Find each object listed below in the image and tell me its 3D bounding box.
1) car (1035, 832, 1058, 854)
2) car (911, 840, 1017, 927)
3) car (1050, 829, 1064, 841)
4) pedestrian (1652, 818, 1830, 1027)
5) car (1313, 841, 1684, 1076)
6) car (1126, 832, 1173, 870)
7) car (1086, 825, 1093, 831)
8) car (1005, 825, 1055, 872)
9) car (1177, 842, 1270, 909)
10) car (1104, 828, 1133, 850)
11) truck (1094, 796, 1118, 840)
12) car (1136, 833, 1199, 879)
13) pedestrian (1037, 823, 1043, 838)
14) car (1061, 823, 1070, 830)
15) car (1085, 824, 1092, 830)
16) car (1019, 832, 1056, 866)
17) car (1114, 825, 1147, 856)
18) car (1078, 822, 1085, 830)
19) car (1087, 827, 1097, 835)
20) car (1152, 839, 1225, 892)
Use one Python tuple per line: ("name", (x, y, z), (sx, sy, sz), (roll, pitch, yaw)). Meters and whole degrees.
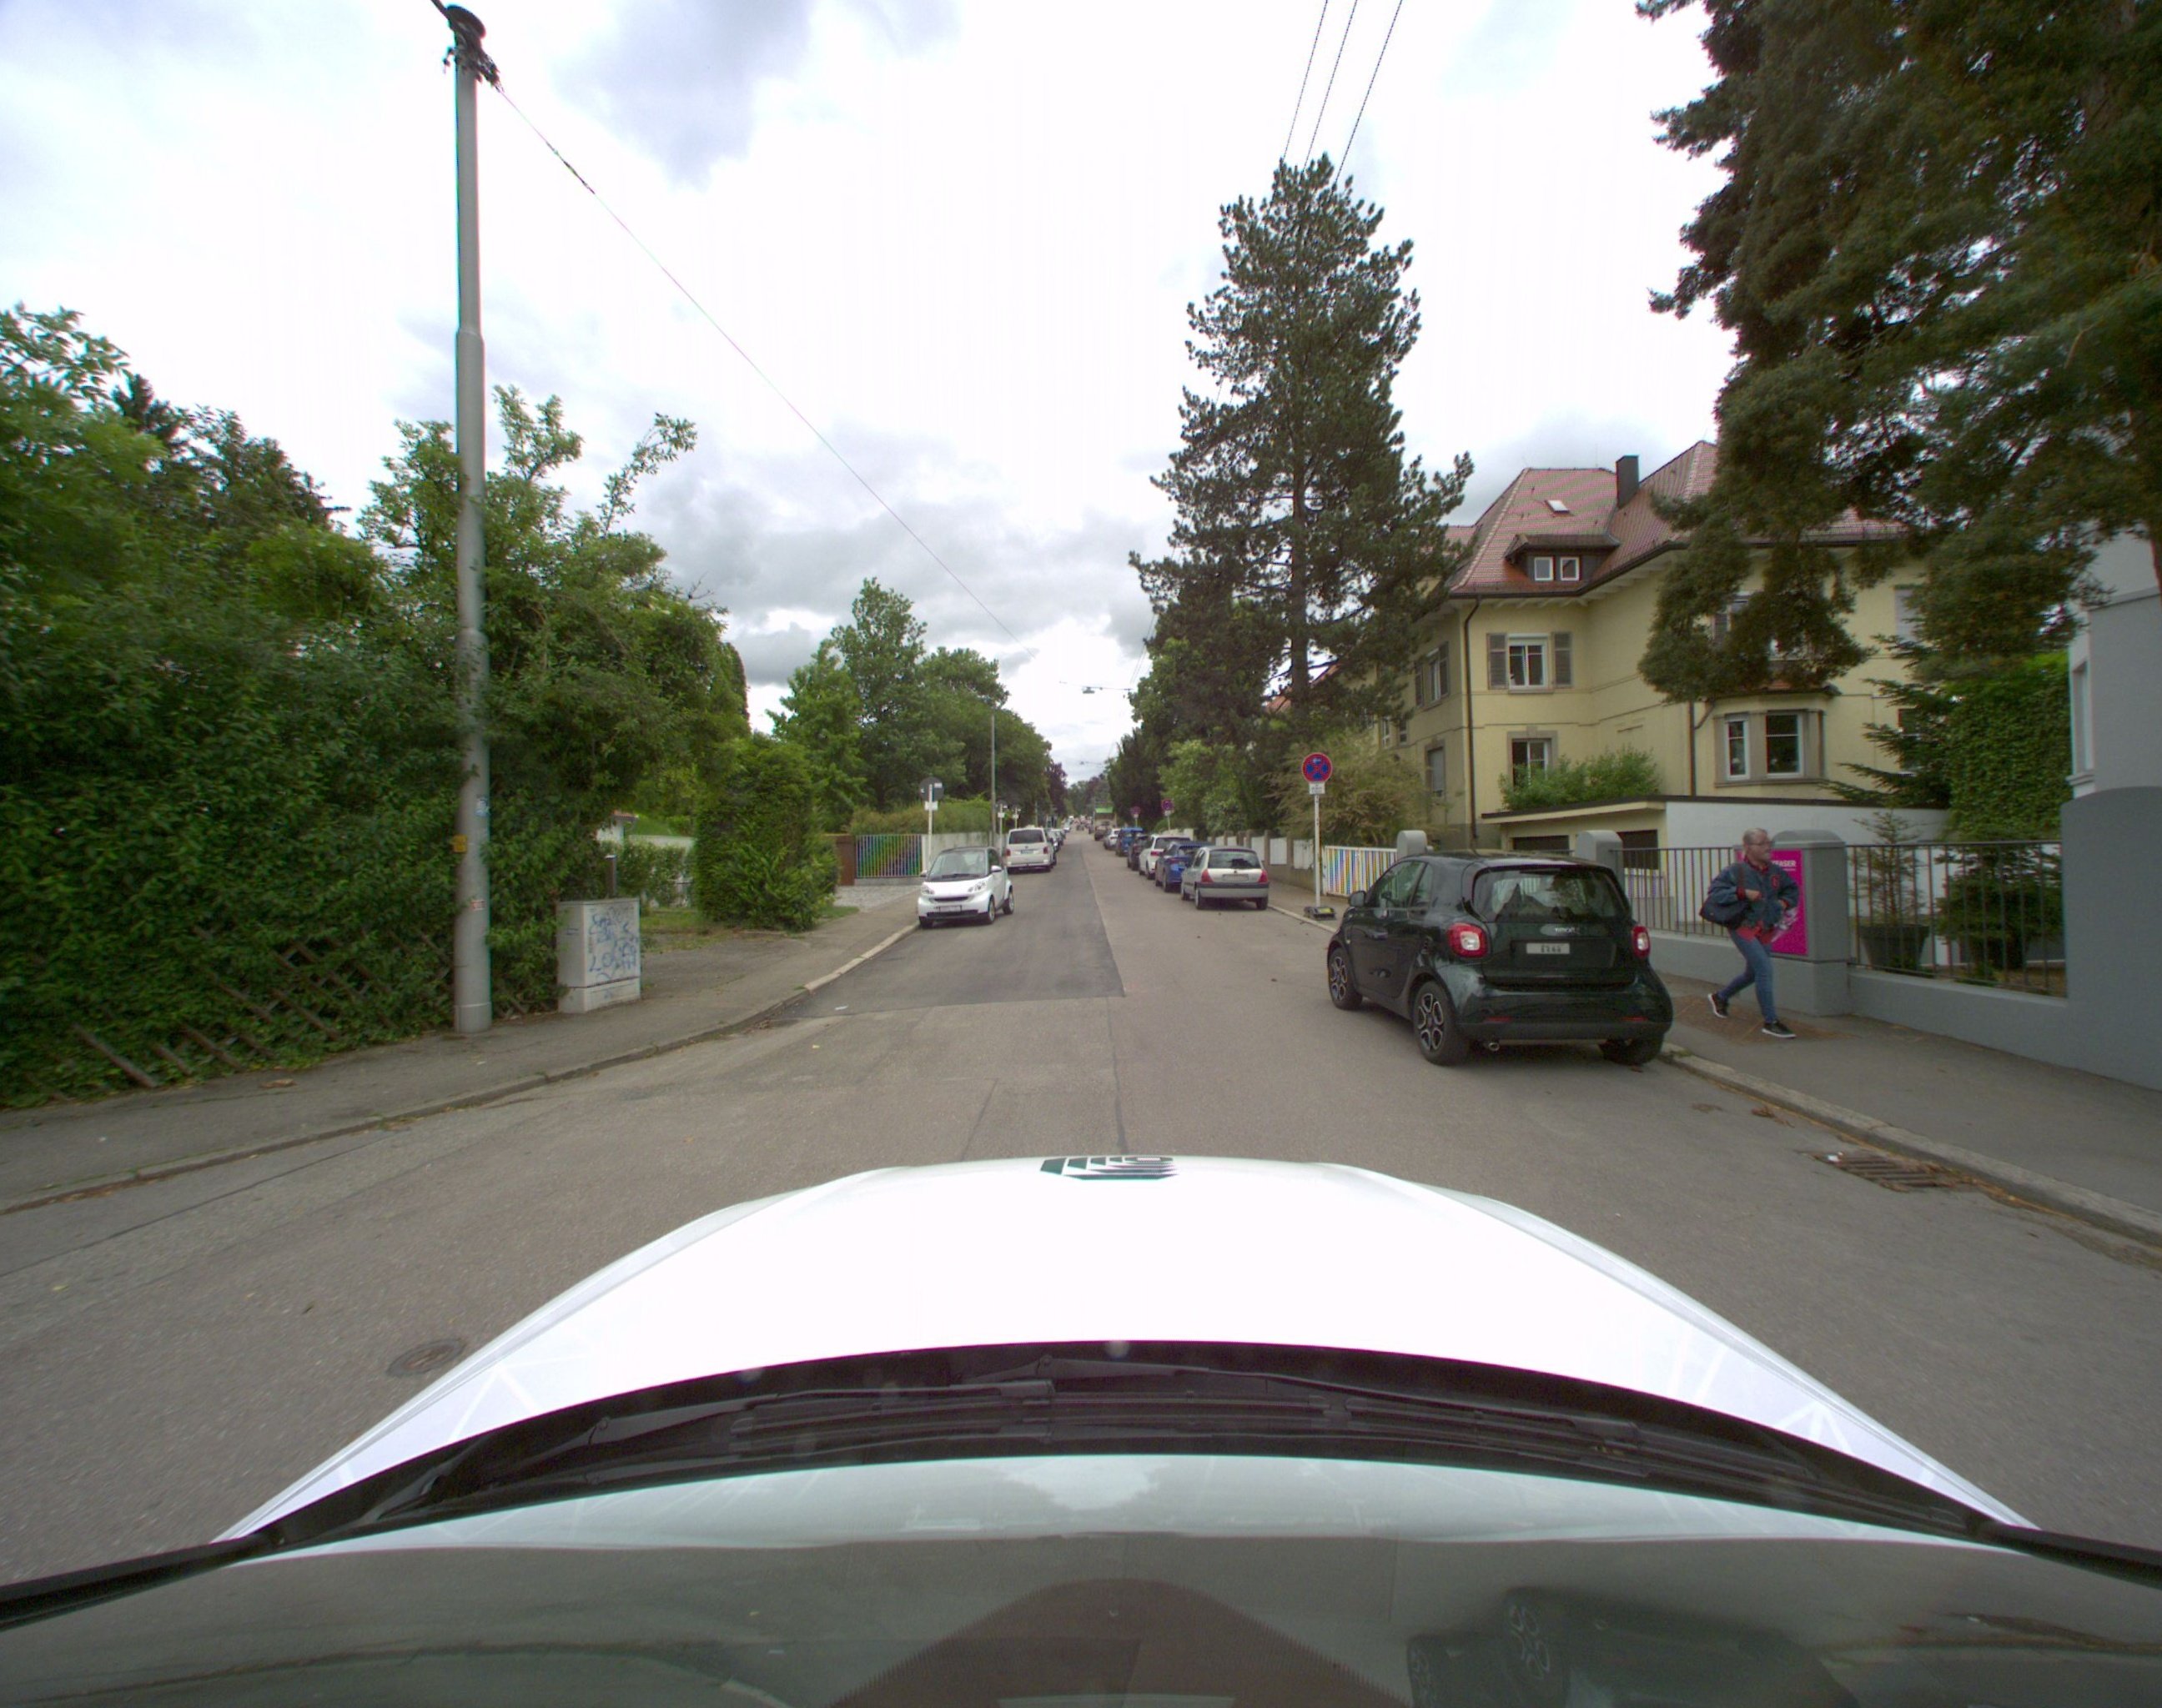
("car", (-2.607, -0.860, 61.191), (1.618, 1.533, 2.959), (-3, 2, -4))
("car", (-2.394, 0.563, 17.214), (1.435, 1.552, 2.775), (-4, 2, 6))
("car", (-3.117, -2.467, 105.845), (1.632, 1.395, 3.987), (-3, 2, -2))
("pedestrian", (5.399, 0.533, 6.725), (0.677, 1.577, 0.908), (-3, -1, 5))
("car", (3.242, 0.693, 6.940), (1.568, 1.531, 2.865), (1, 1, -3))
("car", (3.033, -0.175, 36.831), (1.745, 1.607, 4.075), (1, 1, -1))
("car", (2.143, -6.610, 205.837), (1.805, 1.335, 3.631), (1, 3, -1))
("car", (-2.213, -0.290, 36.723), (1.849, 1.913, 4.619), (-3, 1, 0))
("car", (3.287, 0.440, 19.428), (1.569, 1.400, 3.655), (1, 2, 0))
("car", (2.823, -1.163, 62.020), (1.754, 1.605, 4.569), (0, 2, -4))
("truck", (2.821, -4.042, 92.642), (2.516, 4.747, 7.188), (0, 2, 0))
("car", (3.197, 0.009, 30.827), (1.780, 1.603, 4.302), (1, 2, -2))
("pedestrian", (-5.603, -3.239, 111.415), (0.851, 2.013, 0.699), (1, 1, -6))
("car", (-3.403, -6.196, 182.052), (1.704, 1.585, 4.003), (0, 2, 2))
("car", (2.011, -7.126, 214.716), (1.783, 1.529, 3.736), (-1, 2, 1))
("car", (-2.255, -0.308, 42.906), (1.786, 1.623, 4.339), (-2, 2, -3))
("car", (3.067, -0.862, 51.115), (1.677, 1.829, 4.156), (1, 2, -1))
("car", (0.076, -6.484, 188.151), (1.629, 1.701, 3.493), (0, 2, -1))
("car", (2.200, -4.610, 162.282), (1.774, 1.489, 3.998), (-1, 2, -1))
("car", (3.142, 0.273, 24.515), (1.642, 1.458, 4.051), (0, 1, 0))
